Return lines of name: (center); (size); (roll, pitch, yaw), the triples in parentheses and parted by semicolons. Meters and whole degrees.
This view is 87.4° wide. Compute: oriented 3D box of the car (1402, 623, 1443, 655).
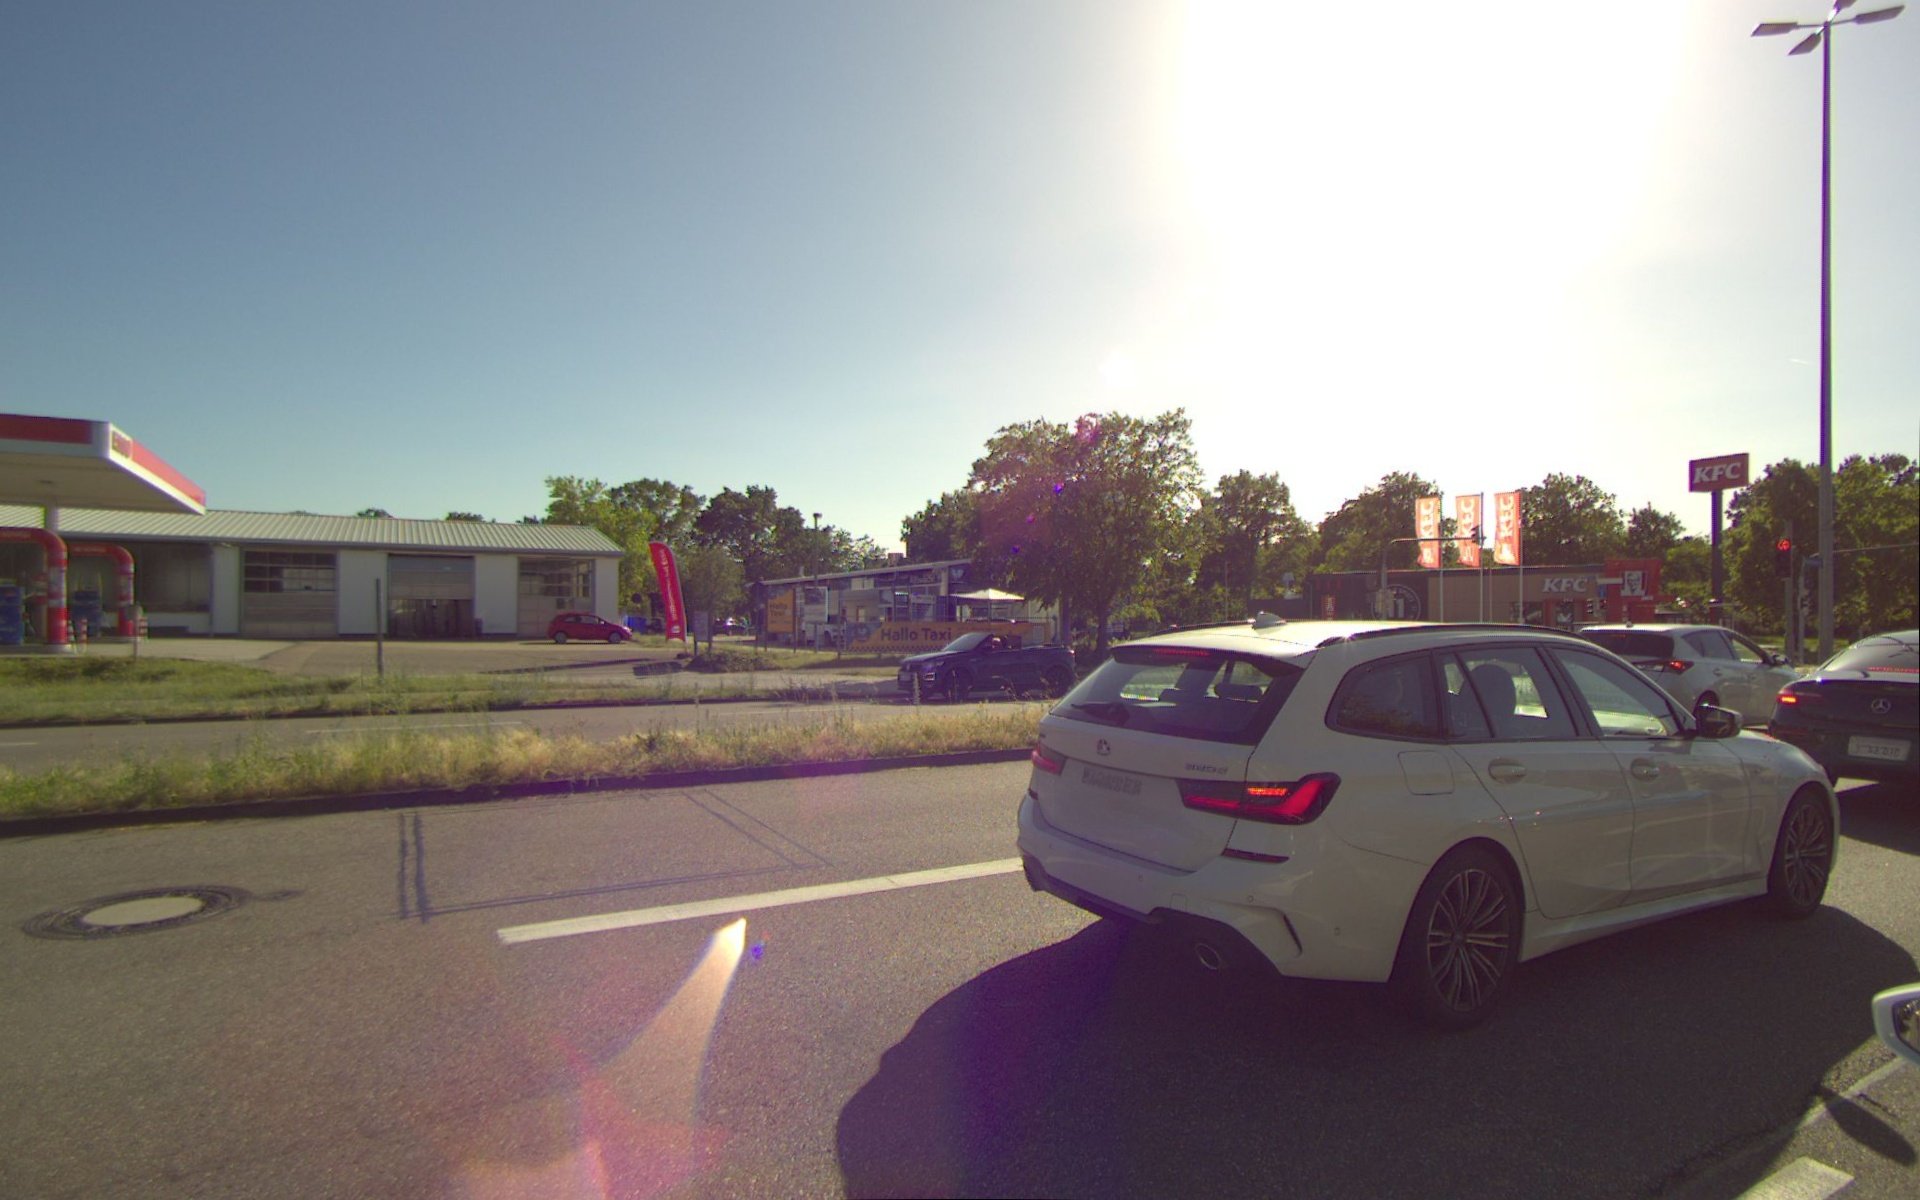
car: (28.357, 2.345, 61.521); (1.964, 1.788, 4.349); (2, 0, 29)

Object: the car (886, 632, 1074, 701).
car: (0.475, 1.465, 22.521); (3.933, 1.428, 1.750); (2, -4, -31)

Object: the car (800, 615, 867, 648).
car: (-6.702, 1.652, 53.036); (1.978, 1.584, 3.964); (2, 0, -32)

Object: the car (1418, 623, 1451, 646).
car: (33.949, 2.457, 71.948); (1.629, 1.491, 3.919); (2, 0, 18)

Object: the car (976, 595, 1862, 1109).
car: (2.393, 0.802, 4.878); (4.353, 1.510, 1.776); (2, 0, -31)

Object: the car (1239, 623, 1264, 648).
car: (21.826, 2.624, 75.155); (1.629, 1.695, 3.945); (2, 0, 18)

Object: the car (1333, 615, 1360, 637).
car: (28.305, 1.896, 73.656); (1.629, 1.491, 3.919); (2, 0, 18)

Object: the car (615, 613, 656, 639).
car: (-19.305, 1.551, 59.694); (1.634, 1.383, 3.744); (2, 0, -29)

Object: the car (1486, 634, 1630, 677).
car: (22.418, 2.067, 37.830); (1.742, 1.510, 4.395); (1, -3, -28)

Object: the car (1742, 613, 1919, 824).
car: (8.785, 0.935, 8.640); (4.425, 1.510, 1.787); (2, 0, -31)

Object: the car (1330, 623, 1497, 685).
car: (11.280, 1.340, 24.928); (4.258, 1.428, 1.719); (2, -4, -33)

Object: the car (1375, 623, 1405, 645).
car: (31.316, 2.447, 73.221); (1.629, 1.491, 3.919); (2, 0, 18)

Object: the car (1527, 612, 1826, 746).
car: (9.598, 0.978, 13.394); (4.150, 1.510, 1.750); (2, 0, -31)

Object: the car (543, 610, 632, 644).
car: (-18.334, 1.340, 49.411); (3.946, 1.537, 1.772); (2, 0, -25)

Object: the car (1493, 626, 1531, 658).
car: (33.103, 2.476, 60.203); (1.880, 1.776, 4.349); (2, 0, 29)

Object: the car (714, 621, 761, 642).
car: (-19.401, 2.725, 87.673); (3.929, 1.634, 1.996); (2, 0, -11)
